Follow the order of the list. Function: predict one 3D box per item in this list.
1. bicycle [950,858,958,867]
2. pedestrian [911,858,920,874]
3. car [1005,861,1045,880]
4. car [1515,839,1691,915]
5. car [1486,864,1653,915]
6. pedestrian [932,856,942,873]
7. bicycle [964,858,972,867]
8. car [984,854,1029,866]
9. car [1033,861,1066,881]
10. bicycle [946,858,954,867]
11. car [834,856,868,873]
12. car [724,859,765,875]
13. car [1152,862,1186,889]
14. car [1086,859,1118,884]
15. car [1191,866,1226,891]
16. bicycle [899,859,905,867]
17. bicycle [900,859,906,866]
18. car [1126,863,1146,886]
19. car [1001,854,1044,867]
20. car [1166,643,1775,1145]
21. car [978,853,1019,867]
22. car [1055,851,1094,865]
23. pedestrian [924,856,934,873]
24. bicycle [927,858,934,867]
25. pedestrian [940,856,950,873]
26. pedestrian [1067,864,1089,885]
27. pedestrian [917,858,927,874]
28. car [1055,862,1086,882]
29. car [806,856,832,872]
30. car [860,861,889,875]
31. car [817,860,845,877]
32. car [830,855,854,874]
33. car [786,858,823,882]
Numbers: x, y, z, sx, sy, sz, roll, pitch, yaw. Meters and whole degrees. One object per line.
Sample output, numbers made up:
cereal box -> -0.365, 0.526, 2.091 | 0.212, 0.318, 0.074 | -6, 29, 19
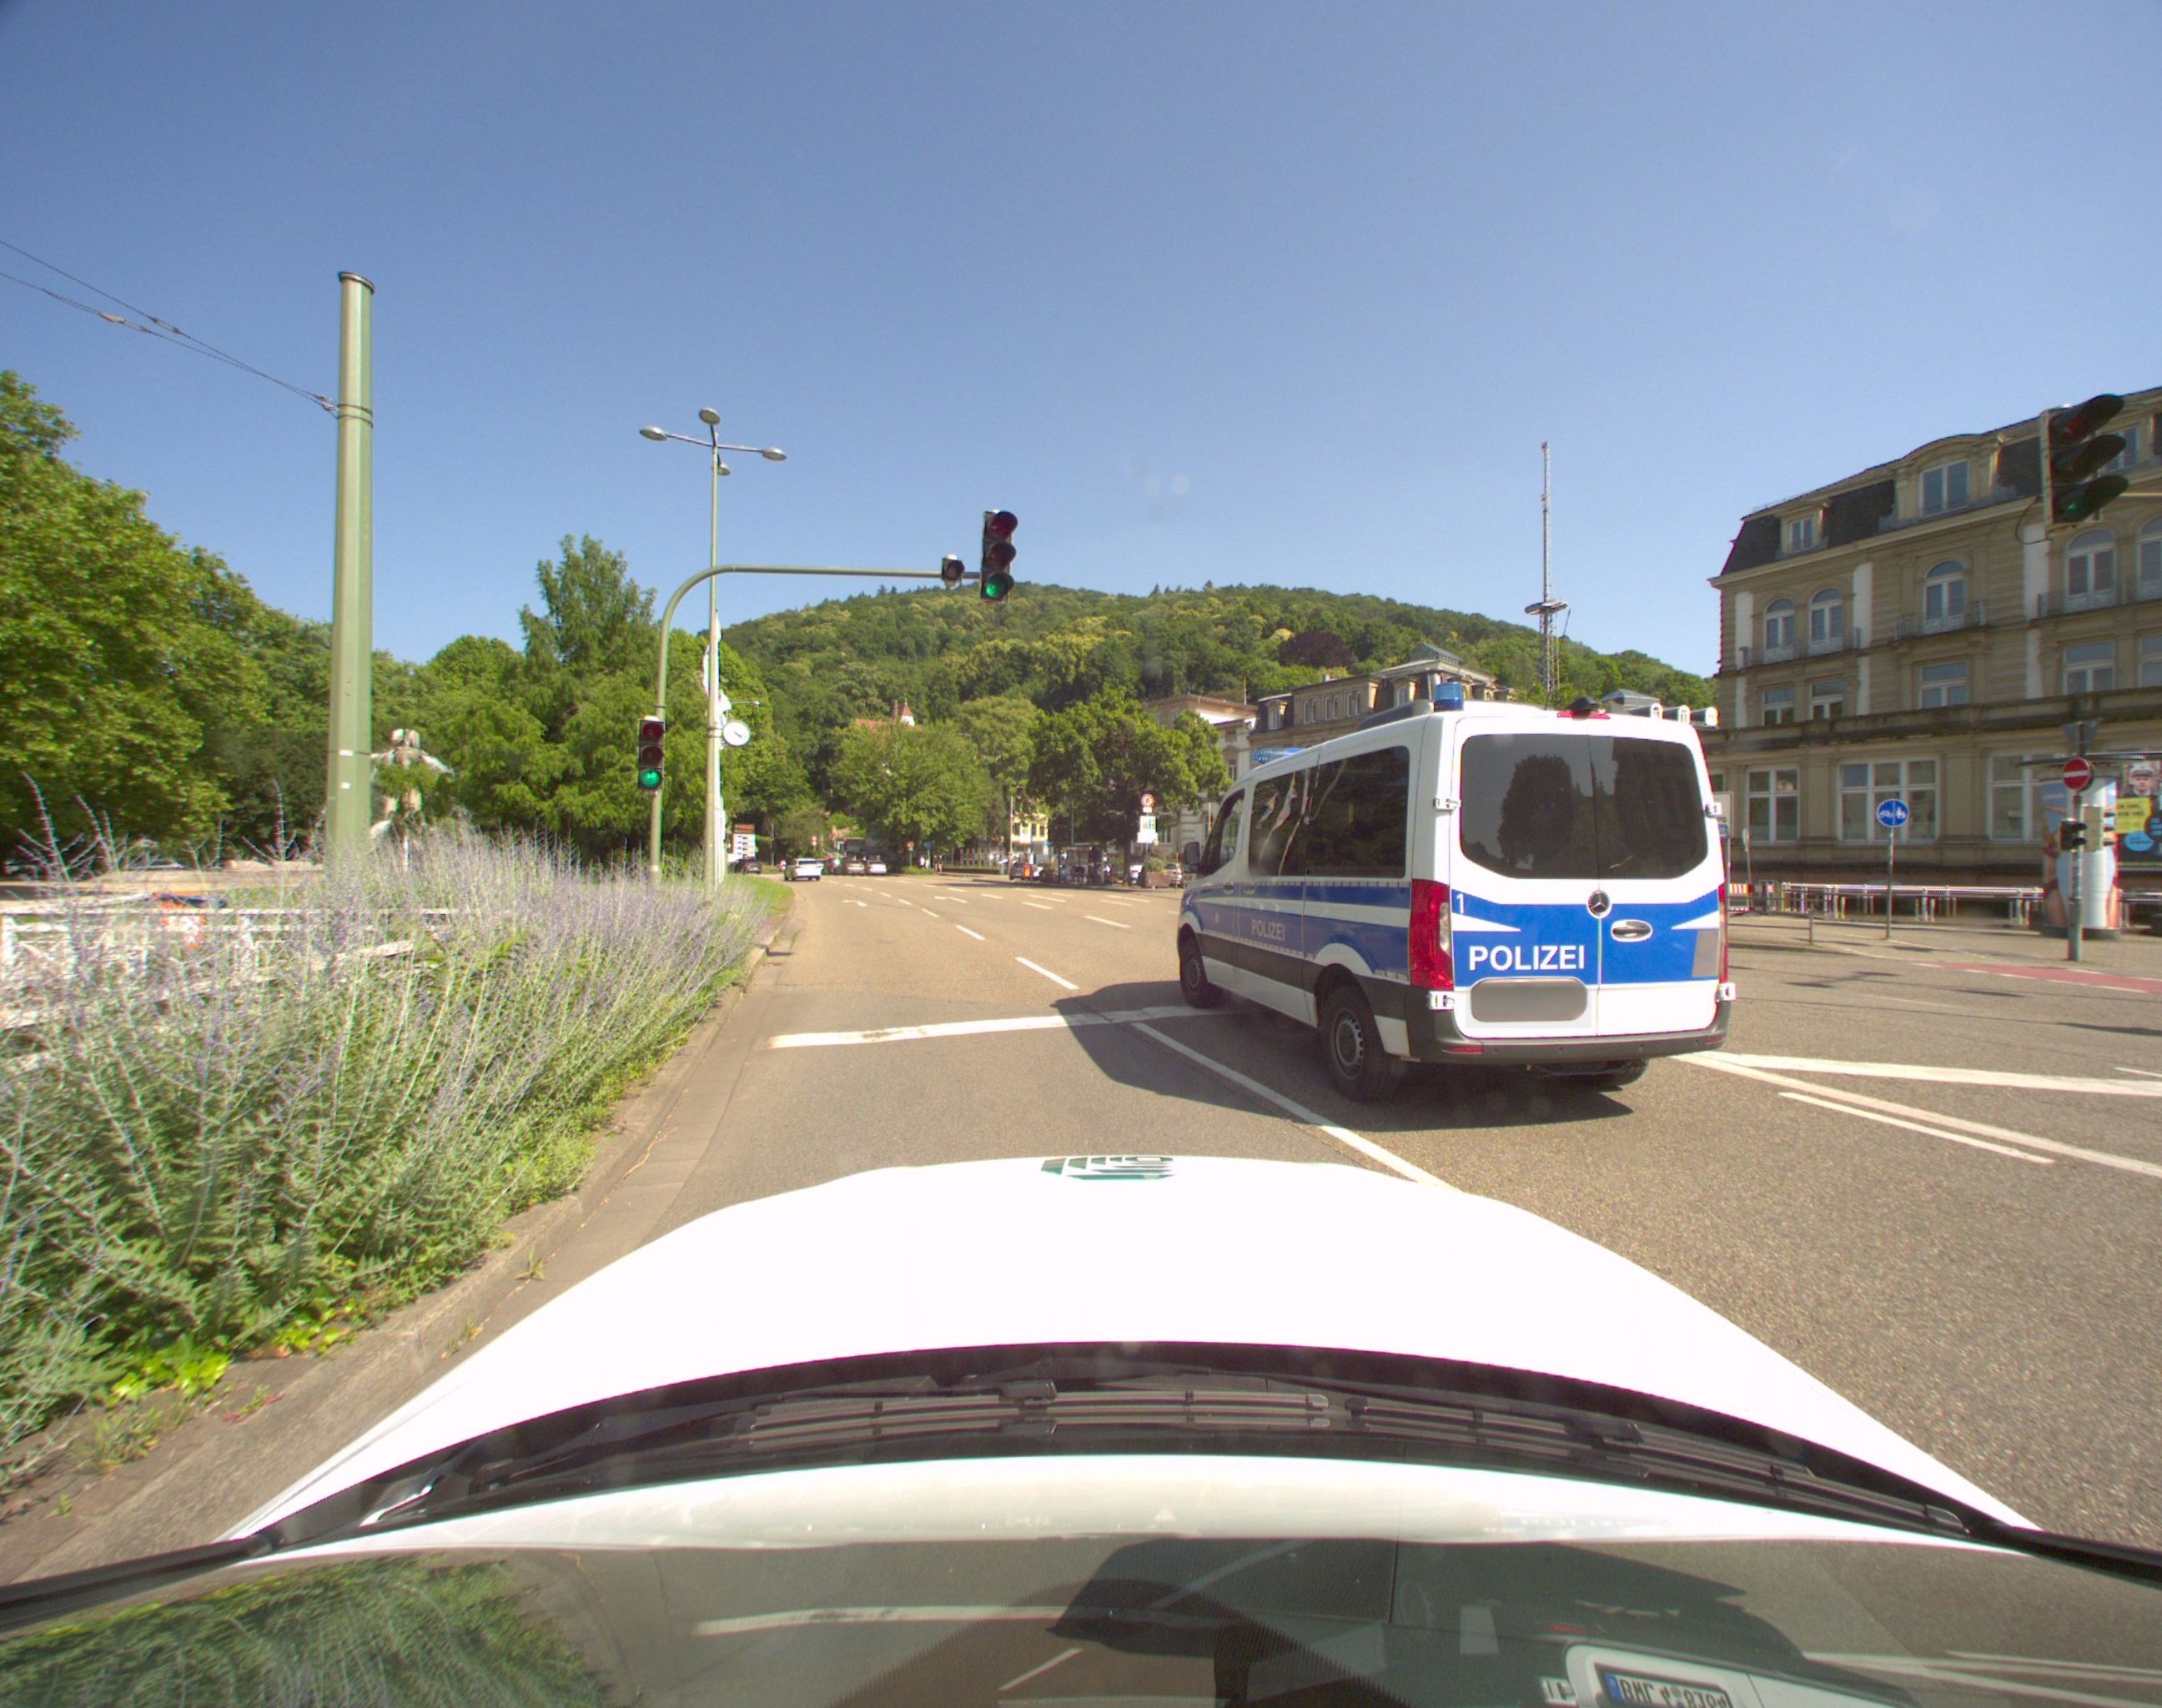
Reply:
bicycle -> -16.693, 1.111, 107.061 | 0.540, 1.085, 1.819 | 0, 0, -26
pedestrian -> -17.709, 1.265, 87.249 | 0.775, 1.663, 0.822 | 1, -1, -27
car -> -4.467, 1.311, 65.467 | 1.808, 1.461, 4.125 | 1, -1, 16
car -> 19.541, 0.795, 30.740 | 2.009, 2.603, 5.259 | 1, -1, -37
car -> 17.344, 1.190, 29.138 | 1.831, 1.626, 4.824 | 1, -1, -38
pedestrian -> -15.439, 1.133, 87.169 | 0.775, 1.854, 0.822 | 1, -1, -29
bicycle -> -15.011, 1.104, 107.769 | 0.540, 1.085, 1.819 | 0, 0, -26
car -> -7.915, 0.625, 86.604 | 4.494, 1.336, 1.804 | 0, 0, -31
car -> -2.434, 1.310, 63.785 | 1.696, 1.511, 3.824 | 1, -1, 12
bicycle -> -17.222, 1.112, 106.772 | 0.540, 1.085, 1.819 | 0, 0, -26
car -> -19.440, 0.881, 68.645 | 1.768, 1.334, 3.763 | 1, -1, -32
car -> -32.003, 1.207, 77.474 | 3.794, 1.464, 1.873 | -1, -1, 37
car -> 5.661, 1.335, 51.797 | 1.697, 1.629, 4.330 | 1, -1, 12
car -> 1.531, 1.212, 57.937 | 1.698, 1.696, 4.285 | 1, -1, 9
car -> 7.651, 1.423, 48.518 | 1.588, 1.417, 3.837 | 1, -1, 16
bicycle -> -23.487, 1.191, 107.035 | 0.407, 0.941, 1.329 | 0, 0, -27
bicycle -> -23.885, 1.127, 109.108 | 0.407, 1.012, 1.329 | 0, 0, -27
car -> 3.679, 1.352, 54.556 | 1.191, 1.482, 2.292 | 1, -1, 6
car -> -6.094, 0.661, 84.724 | 4.111, 1.336, 1.804 | 0, 0, -31
car -> 2.365, 0.238, 6.690 | 2.073, 2.509, 4.912 | 1, -1, -10
car -> -9.257, 0.666, 91.275 | 4.171, 1.476, 1.858 | 0, 0, -33
car -> -0.757, 0.462, 96.898 | 4.335, 1.603, 1.804 | 0, 0, -31
pedestrian -> -16.161, 1.134, 86.617 | 0.775, 1.854, 0.822 | 1, -1, -29
bicycle -> -19.547, 1.121, 105.718 | 0.540, 1.085, 1.819 | 0, 0, -26
pedestrian -> -14.639, 1.131, 87.650 | 0.775, 1.854, 0.822 | 1, -1, -29
pedestrian -> -0.155, 1.221, 47.793 | 0.782, 1.198, 1.027 | 0, -1, 41
pedestrian -> -17.254, 1.277, 88.365 | 0.776, 1.663, 0.821 | 1, -1, -30
car -> -0.763, 1.343, 61.153 | 1.698, 1.442, 3.821 | 1, -1, 9
car -> -25.135, 0.921, 77.974 | 1.766, 1.461, 3.612 | 1, -1, -28
car -> -18.702, 1.287, 73.548 | 1.766, 1.213, 3.462 | 1, 0, -28
car -> -22.656, 1.285, 73.712 | 1.766, 1.461, 3.462 | 1, -1, -28
car -> -25.136, 1.131, 85.712 | 1.766, 1.938, 3.462 | 1, -1, -28
car -> -18.080, 1.015, 53.147 | 1.852, 1.460, 3.464 | 1, 0, -26
